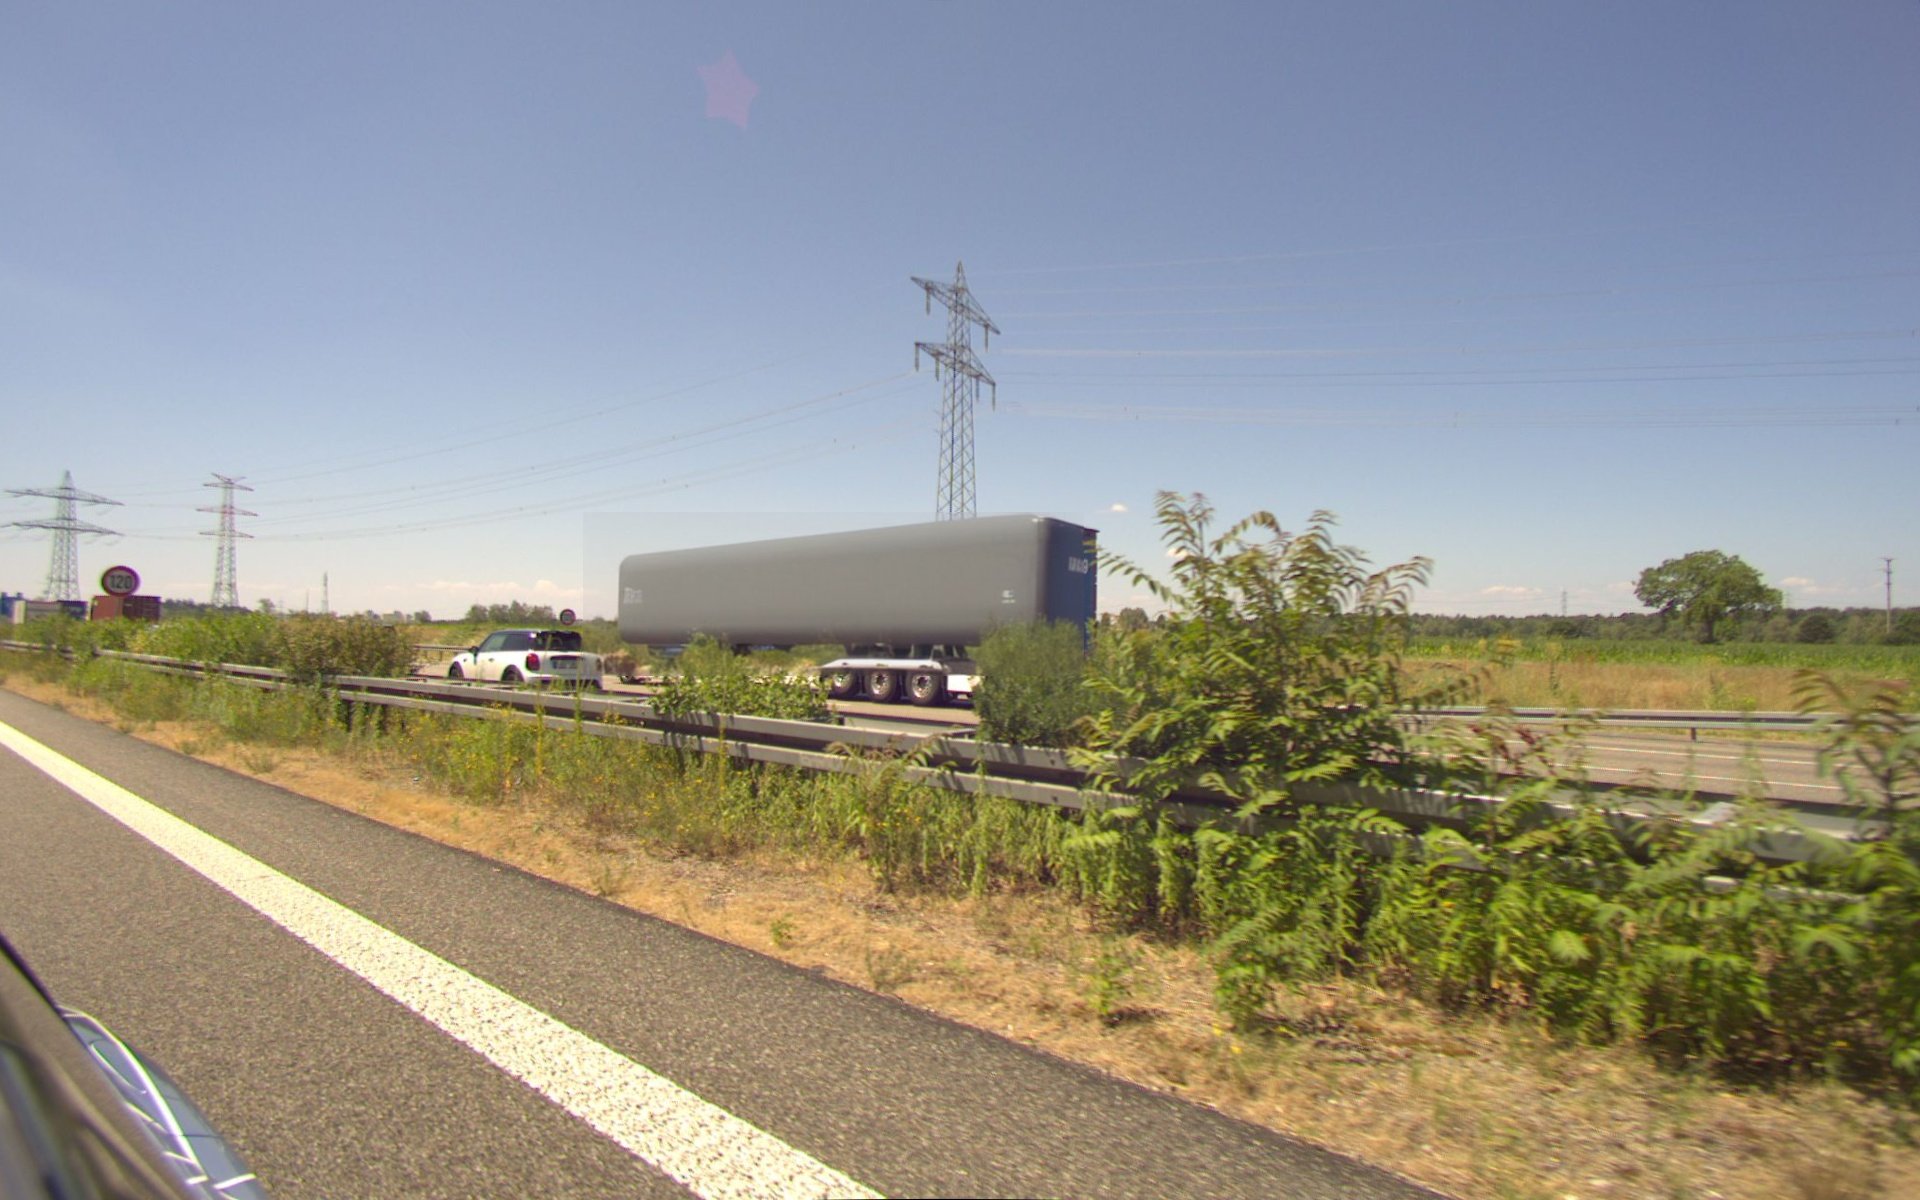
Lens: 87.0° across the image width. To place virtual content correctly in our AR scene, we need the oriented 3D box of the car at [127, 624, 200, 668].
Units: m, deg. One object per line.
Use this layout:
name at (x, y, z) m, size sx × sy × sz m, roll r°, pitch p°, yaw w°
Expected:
car at (-31.110, 1.789, 39.498) m, size 3.681 × 1.502 × 1.456 m, roll -1°, pitch -9°, yaw 41°

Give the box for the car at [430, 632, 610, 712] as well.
car at (-8.817, 1.347, 20.100) m, size 4.329 × 1.409 × 1.614 m, roll -1°, pitch -3°, yaw 42°

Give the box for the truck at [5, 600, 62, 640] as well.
truck at (-84.014, 1.851, 91.751) m, size 9.364 × 3.439 × 2.905 m, roll -1°, pitch -2°, yaw 42°

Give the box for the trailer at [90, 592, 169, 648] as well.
trailer at (-69.374, 1.622, 84.367) m, size 12.266 × 4.339 × 3.160 m, roll -1°, pitch 0°, yaw 41°

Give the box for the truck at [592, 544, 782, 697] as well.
truck at (-8.226, 0.630, 30.159) m, size 5.798 × 4.100 × 2.668 m, roll -1°, pitch -3°, yaw 41°

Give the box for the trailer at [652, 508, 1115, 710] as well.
trailer at (-2.734, 0.323, 25.521) m, size 13.902 × 3.968 × 2.665 m, roll -1°, pitch -2°, yaw 41°

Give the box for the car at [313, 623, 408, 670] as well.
car at (-22.543, 1.713, 38.003) m, size 4.606 × 1.645 × 1.734 m, roll -1°, pitch -2°, yaw 42°

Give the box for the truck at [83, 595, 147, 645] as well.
truck at (-73.736, 1.798, 88.312) m, size 6.434 × 4.190 × 3.180 m, roll -1°, pitch -2°, yaw 40°

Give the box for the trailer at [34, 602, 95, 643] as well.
trailer at (-93.887, 2.400, 105.958) m, size 14.134 × 4.008 × 2.820 m, roll -1°, pitch -3°, yaw 41°
